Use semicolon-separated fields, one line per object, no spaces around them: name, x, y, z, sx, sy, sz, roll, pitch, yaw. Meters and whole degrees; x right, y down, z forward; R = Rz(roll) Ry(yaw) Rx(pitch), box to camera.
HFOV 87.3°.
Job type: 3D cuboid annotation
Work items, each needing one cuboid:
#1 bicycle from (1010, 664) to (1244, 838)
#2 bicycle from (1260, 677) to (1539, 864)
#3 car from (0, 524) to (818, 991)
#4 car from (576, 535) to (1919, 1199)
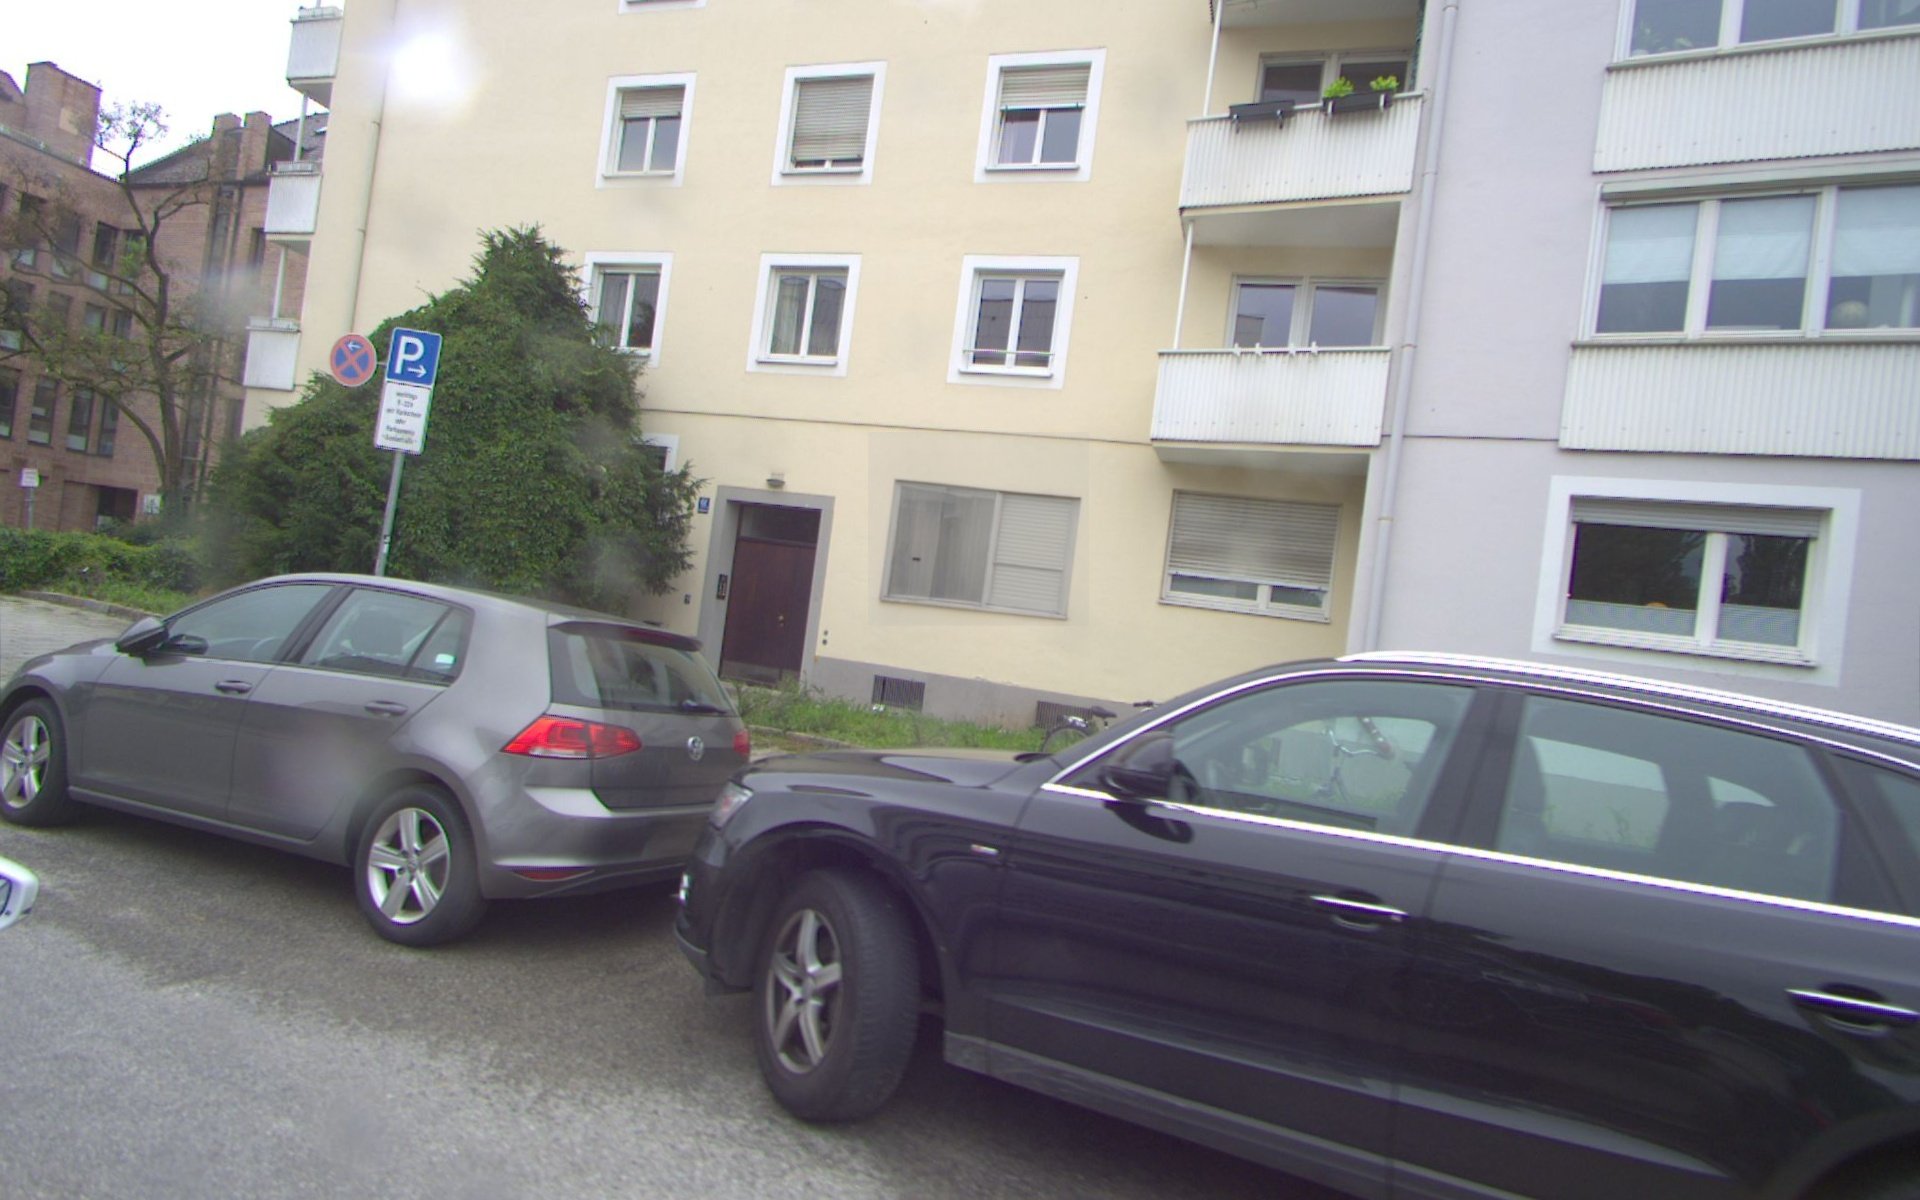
bicycle;1.403;1.258;8.756;1.915;1.131;0.467;7;0;39
bicycle;3.519;1.325;8.165;1.910;1.131;0.468;7;0;28
car;-2.978;0.592;5.157;3.970;1.411;1.762;6;-4;21
car;1.171;0.906;3.223;4.433;1.582;1.666;7;-3;24
